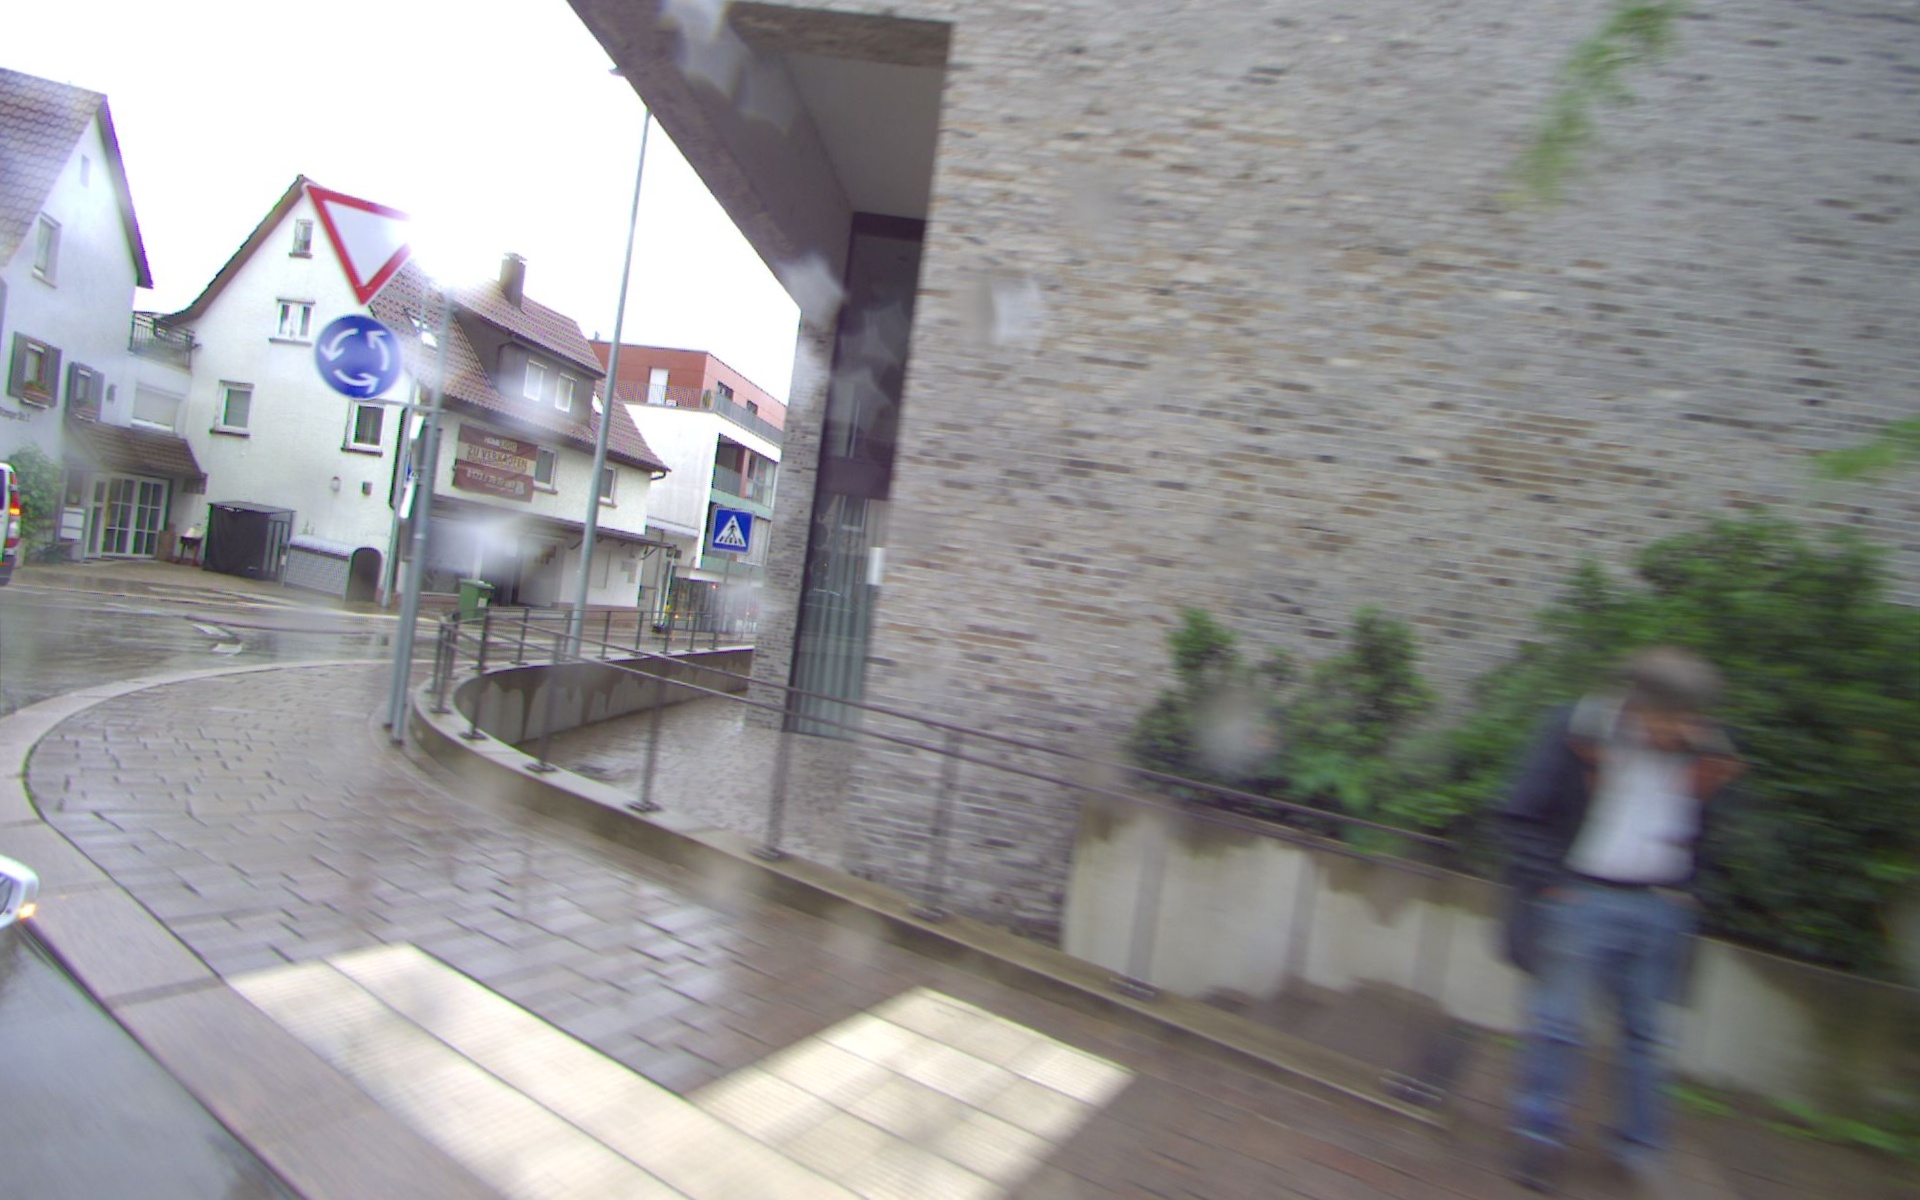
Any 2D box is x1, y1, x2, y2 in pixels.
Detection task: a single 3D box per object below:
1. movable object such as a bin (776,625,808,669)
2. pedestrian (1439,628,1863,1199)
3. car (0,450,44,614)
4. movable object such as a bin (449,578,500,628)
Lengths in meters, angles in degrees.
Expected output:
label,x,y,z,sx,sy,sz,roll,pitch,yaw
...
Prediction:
label,x,y,z,sx,sy,sz,roll,pitch,yaw
movable object such as a bin,-4.516,1.278,27.066,0.540,1.108,0.666,7,-1,7
pedestrian,1.908,0.930,2.901,0.690,1.626,0.584,7,2,16
car,-13.852,-1.070,12.761,4.848,1.921,2.154,5,-1,35
movable object such as a bin,-12.141,0.089,25.193,0.676,1.093,0.762,10,-1,6
